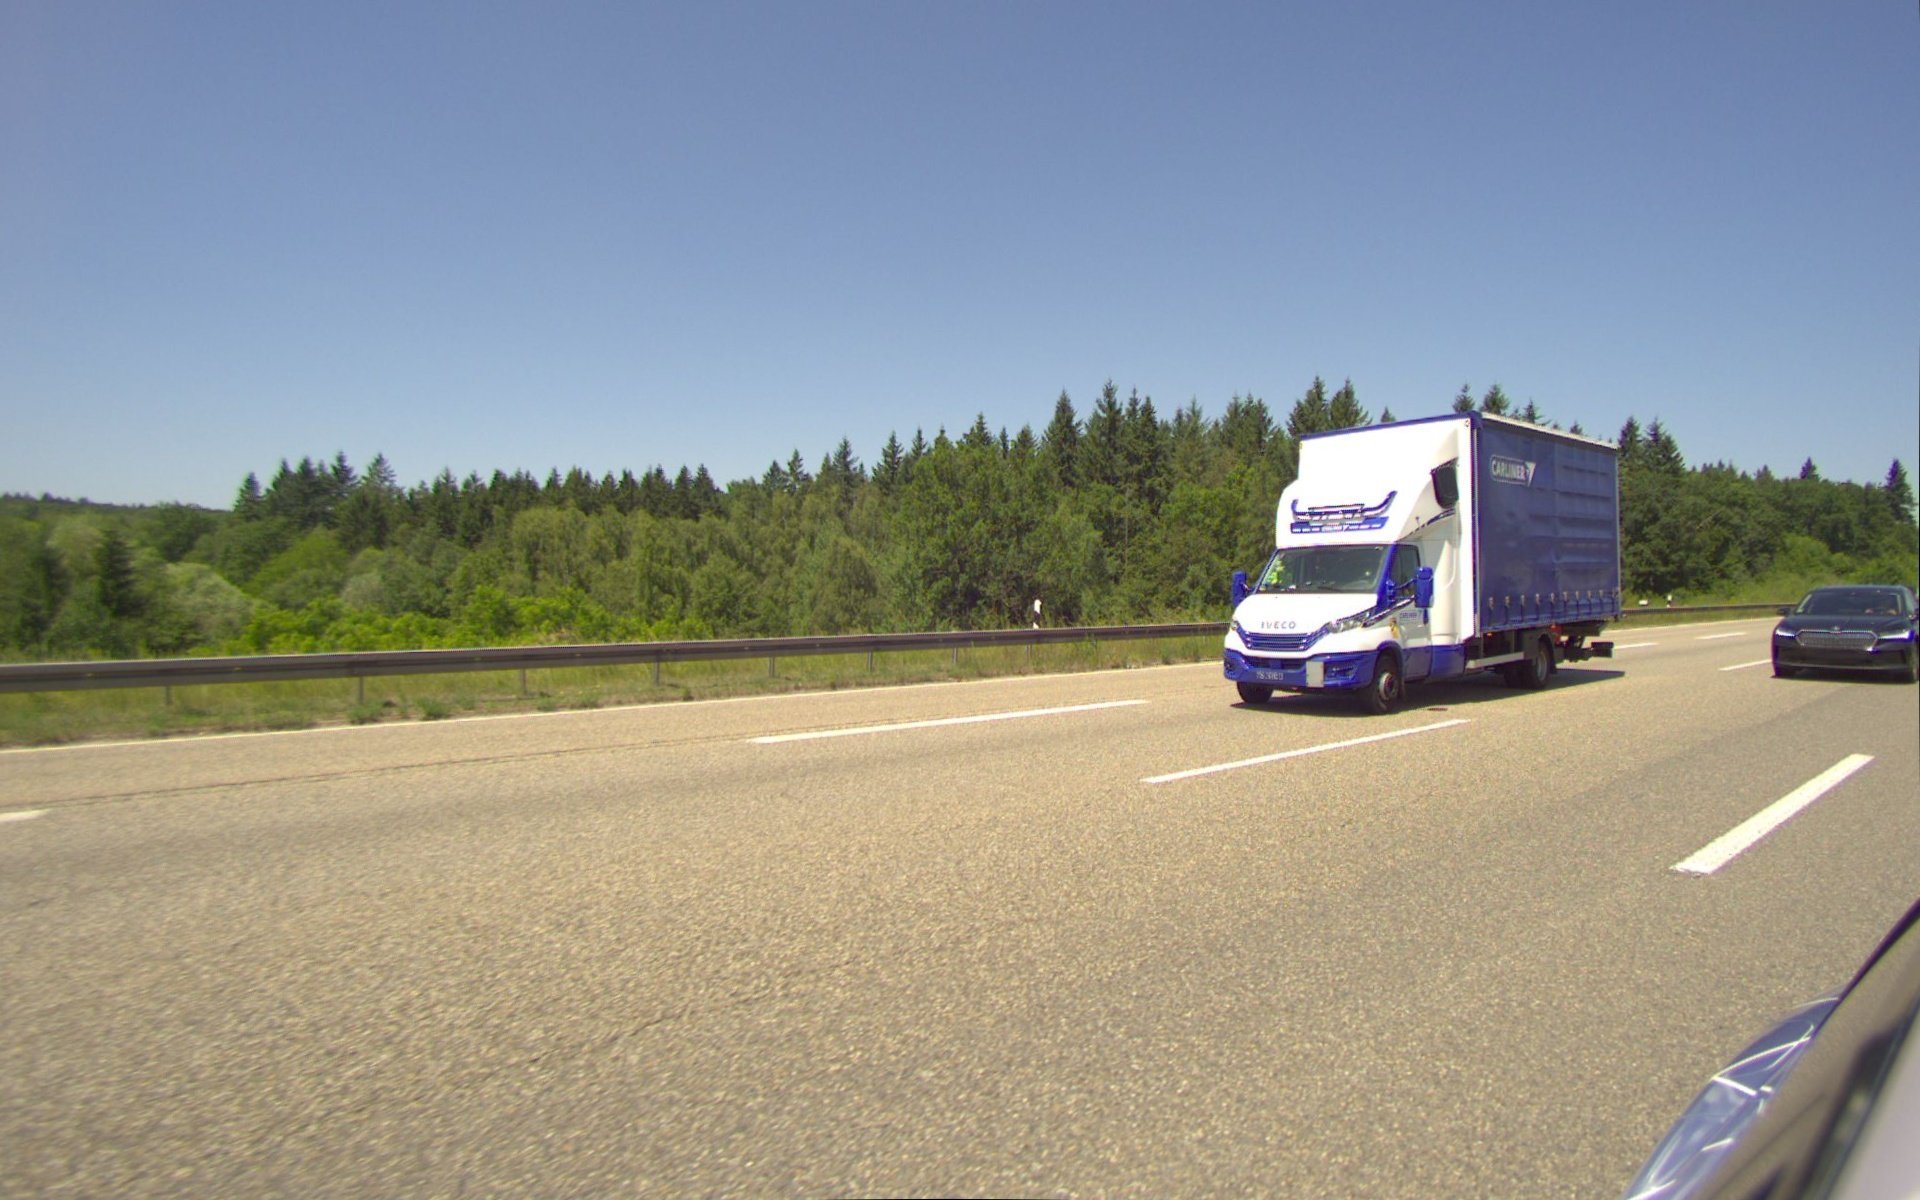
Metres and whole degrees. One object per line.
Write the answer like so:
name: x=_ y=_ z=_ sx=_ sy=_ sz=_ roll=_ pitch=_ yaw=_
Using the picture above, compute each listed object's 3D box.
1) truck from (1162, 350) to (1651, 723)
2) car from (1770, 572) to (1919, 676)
truck: x=7.297 y=-0.784 z=15.484 sx=9.566 sy=4.180 sz=2.789 roll=-1 pitch=0 yaw=-39
car: x=16.145 y=0.418 z=17.942 sx=4.378 sy=1.640 sz=1.988 roll=1 pitch=-2 yaw=-40
